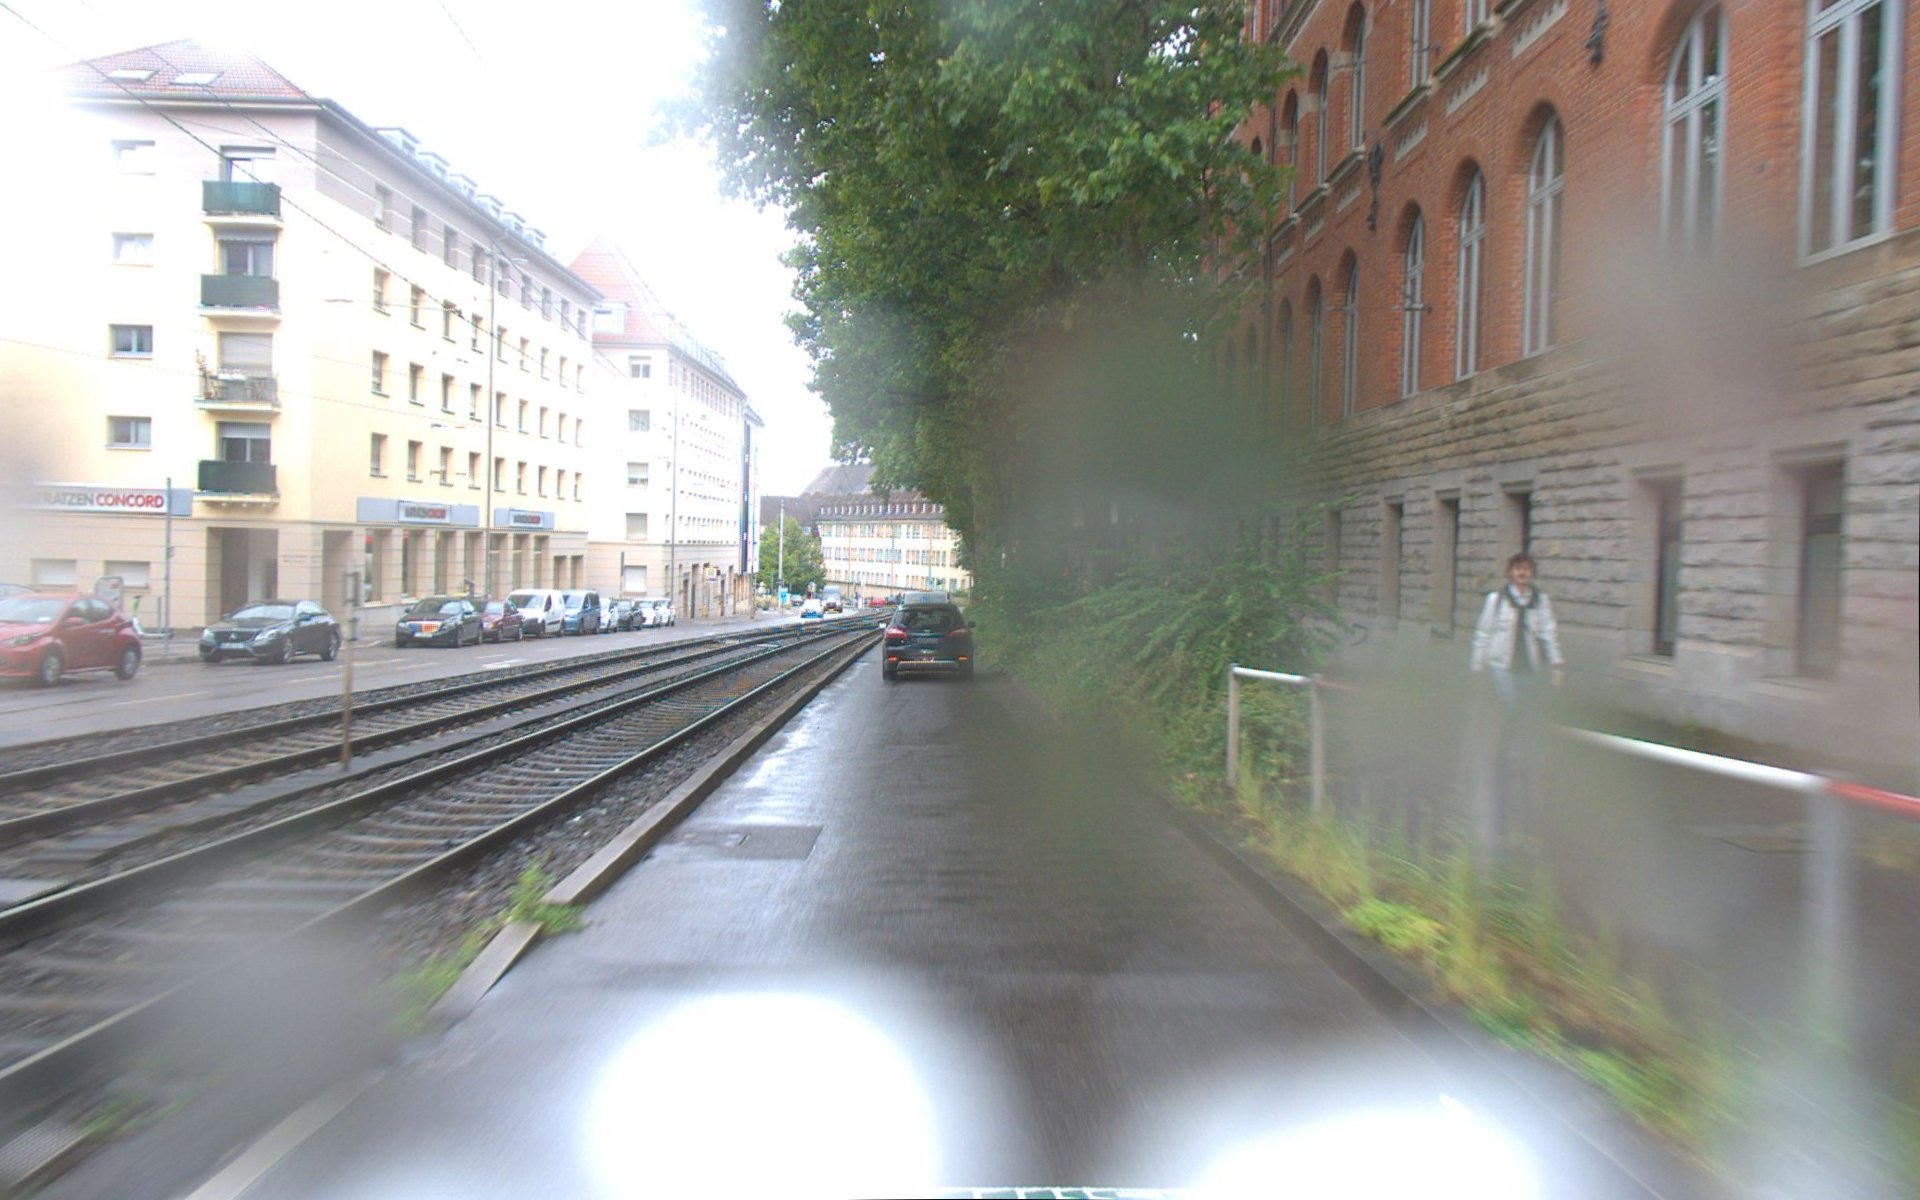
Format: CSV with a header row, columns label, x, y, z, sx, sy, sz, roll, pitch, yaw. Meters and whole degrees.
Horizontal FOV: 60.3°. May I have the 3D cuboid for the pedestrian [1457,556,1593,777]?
label,x,y,z,sx,sy,sz,roll,pitch,yaw
pedestrian,4.511,0.510,13.260,0.806,1.708,0.860,1,0,2

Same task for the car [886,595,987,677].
label,x,y,z,sx,sy,sz,roll,pitch,yaw
car,-0.537,0.686,33.621,1.894,1.478,4.316,1,0,-2

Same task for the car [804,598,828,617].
label,x,y,z,sx,sy,sz,roll,pitch,yaw
car,-12.236,0.614,140.983,1.676,1.488,4.281,0,1,0

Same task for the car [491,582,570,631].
label,x,y,z,sx,sy,sz,roll,pitch,yaw
car,-16.078,0.213,62.133,1.829,1.747,4.460,1,0,0

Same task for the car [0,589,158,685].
label,x,y,z,sx,sy,sz,roll,pitch,yaw
car,-15.452,0.564,28.042,1.619,1.477,4.075,1,0,2

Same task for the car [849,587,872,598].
label,x,y,z,sx,sy,sz,roll,pitch,yaw
car,-14.805,-1.099,245.649,1.970,1.569,3.965,-1,1,-27

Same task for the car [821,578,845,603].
label,x,y,z,sx,sy,sz,roll,pitch,yaw
car,-12.724,-0.932,166.209,1.953,2.494,5.998,1,0,0

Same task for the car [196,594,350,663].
label,x,y,z,sx,sy,sz,roll,pitch,yaw
car,-15.387,0.597,37.311,1.646,1.420,4.621,1,0,-2

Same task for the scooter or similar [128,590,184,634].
label,x,y,z,sx,sy,sz,roll,pitch,yaw
scooter or similar,-21.736,0.324,44.731,1.266,1.132,0.379,2,1,-8

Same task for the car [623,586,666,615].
label,x,y,z,sx,sy,sz,roll,pitch,yaw
car,-16.384,0.008,86.026,1.670,1.421,3.933,2,1,-4

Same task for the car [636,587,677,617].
label,x,y,z,sx,sy,sz,roll,pitch,yaw
car,-16.595,0.097,90.443,1.674,1.475,3.540,3,0,-3

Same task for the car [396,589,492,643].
label,x,y,z,sx,sy,sz,roll,pitch,yaw
car,-15.768,0.458,50.737,1.815,1.534,4.986,1,1,-6

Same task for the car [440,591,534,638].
label,x,y,z,sx,sy,sz,roll,pitch,yaw
car,-16.056,0.470,56.413,1.813,1.457,4.831,2,0,0

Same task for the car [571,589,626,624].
label,x,y,z,sx,sy,sz,roll,pitch,yaw
car,-16.055,0.260,73.550,1.657,1.464,4.048,0,1,-2

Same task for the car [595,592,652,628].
label,x,y,z,sx,sy,sz,roll,pitch,yaw
car,-15.997,0.447,78.905,1.776,1.525,4.582,2,1,-1

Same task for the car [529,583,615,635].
label,x,y,z,sx,sy,sz,roll,pitch,yaw
car,-15.982,0.328,68.376,1.952,1.938,5.462,2,1,3

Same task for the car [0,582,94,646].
label,x,y,z,sx,sy,sz,roll,pitch,yaw
car,-21.653,0.293,37.041,1.831,1.326,4.481,1,1,6

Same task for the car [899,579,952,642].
label,x,y,z,sx,sy,sz,roll,pitch,yaw
car,-1.210,0.341,56.317,1.705,2.049,3.902,1,0,-2
